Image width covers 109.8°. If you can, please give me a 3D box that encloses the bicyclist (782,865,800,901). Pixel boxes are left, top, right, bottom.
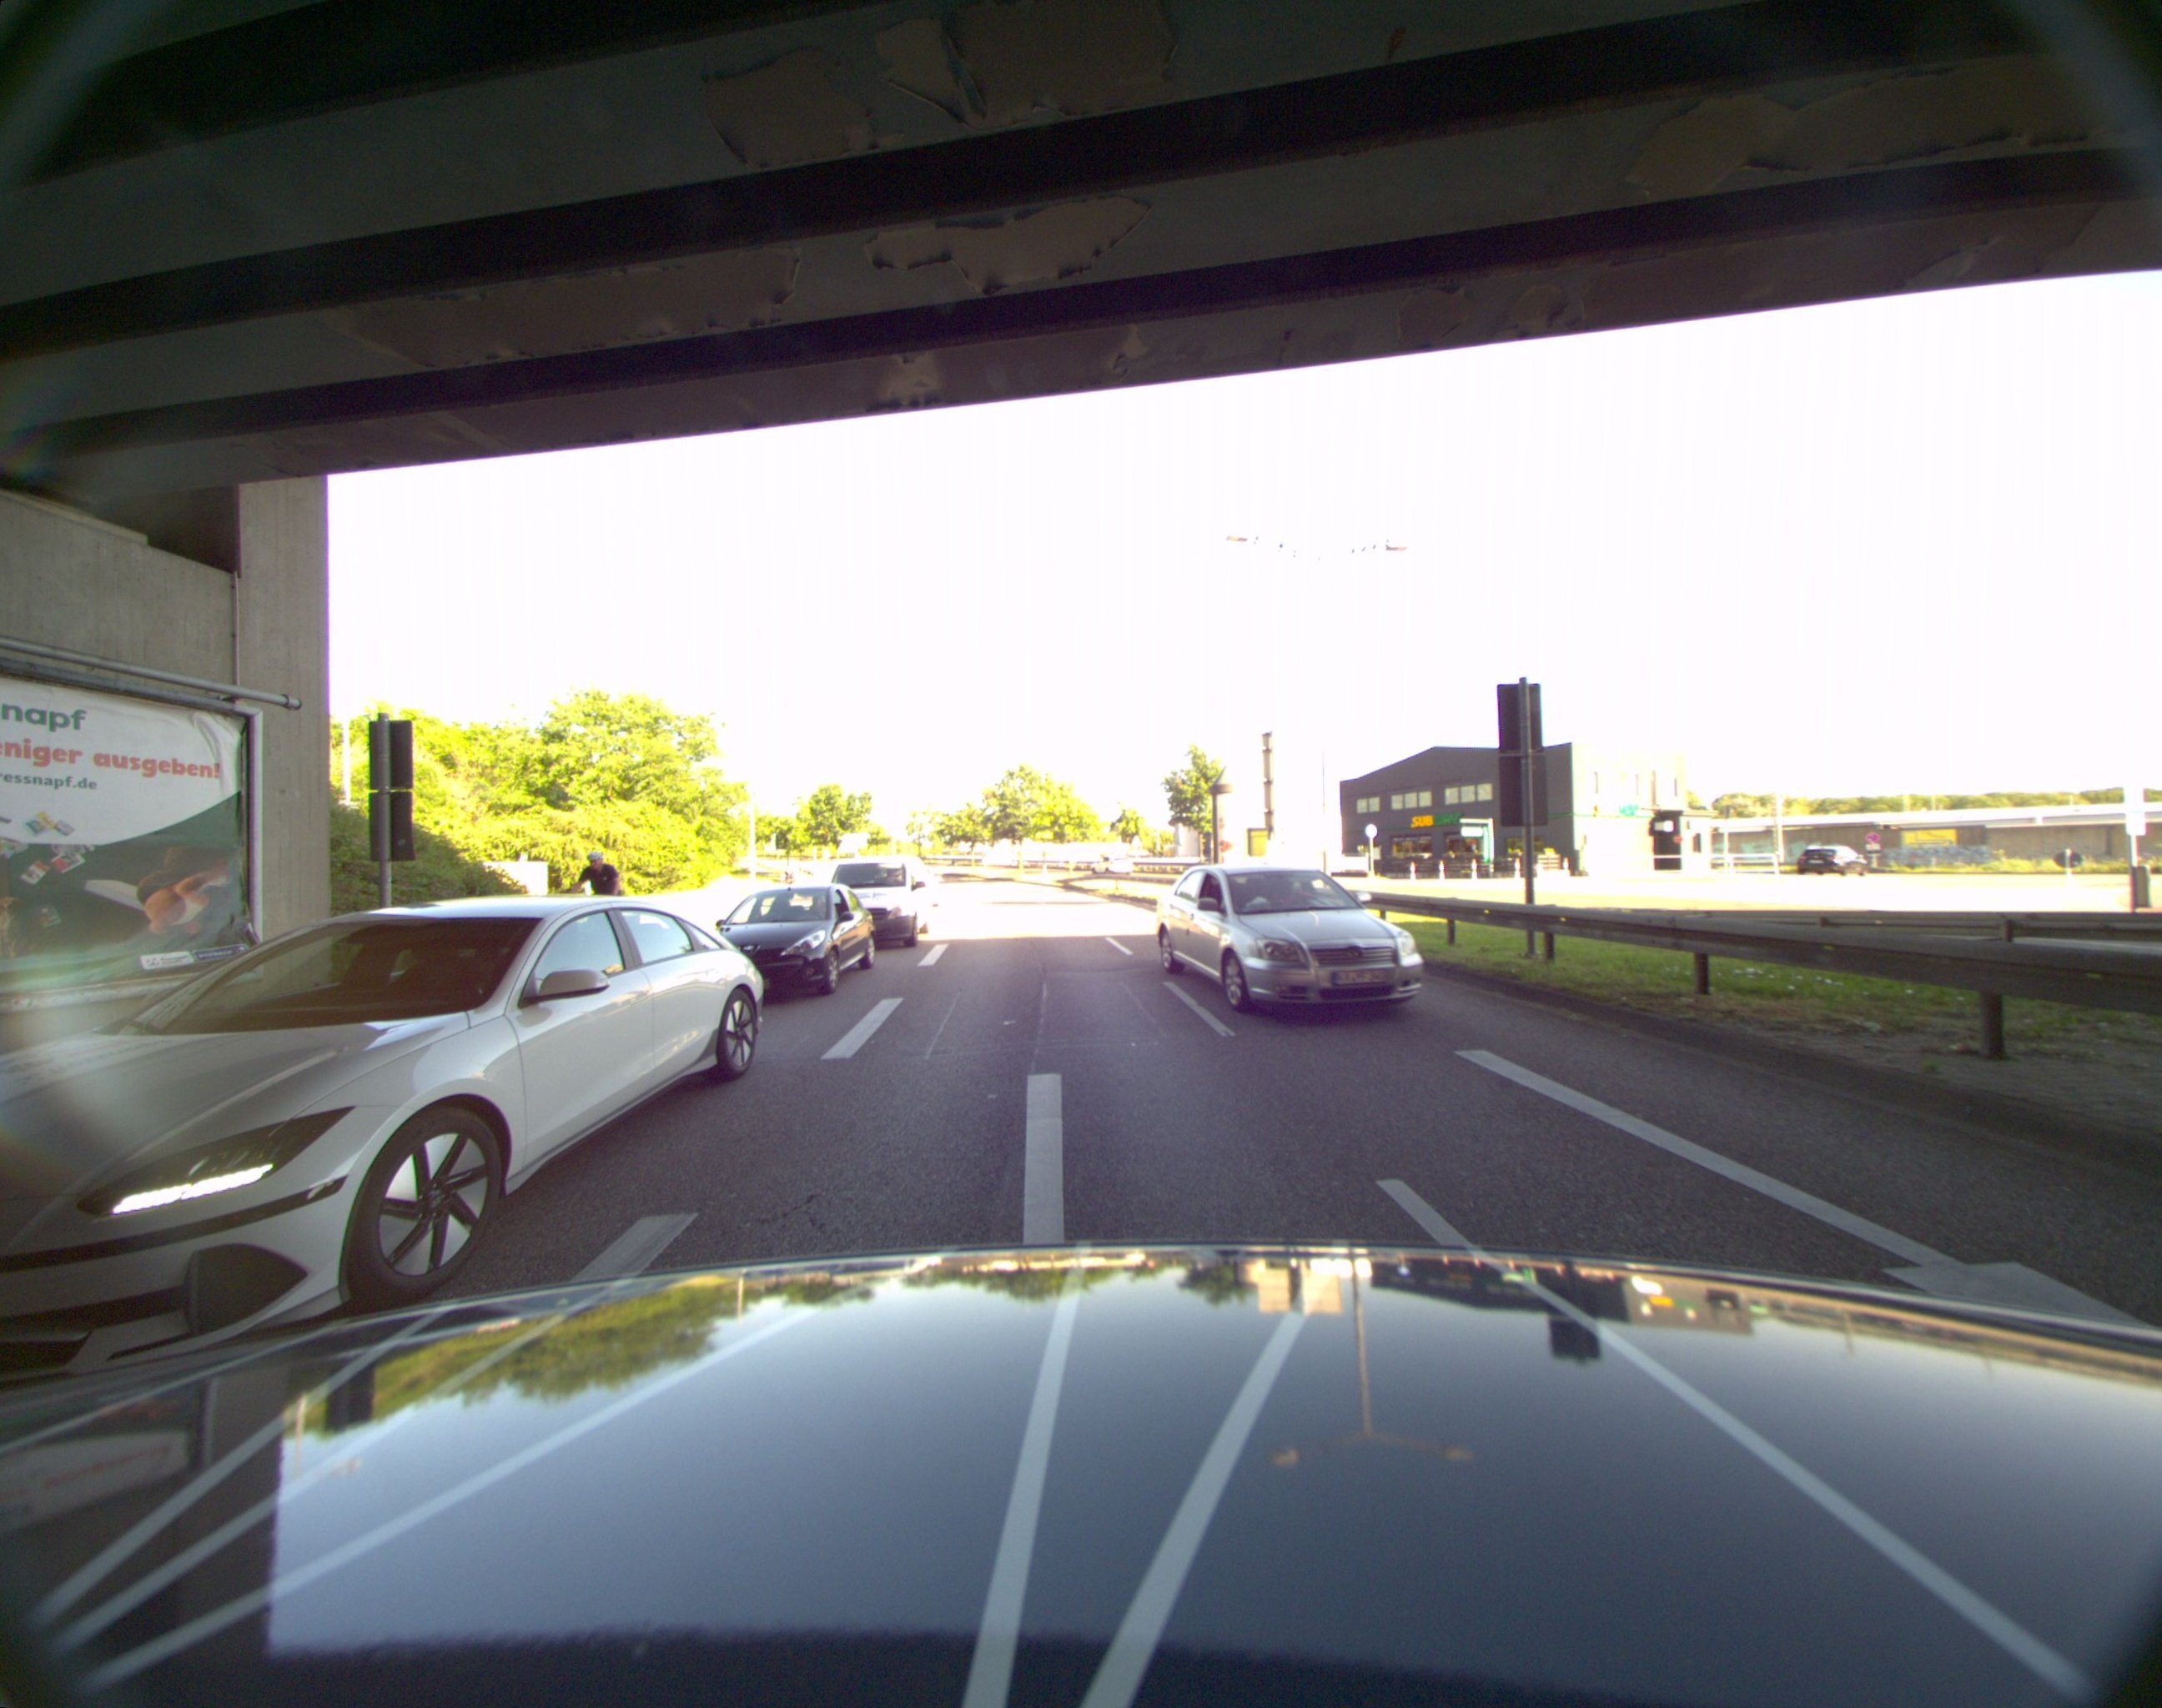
[{"bbox_3d":[-12.561,1.240,32.919,0.655,1.524,0.846,1,-1,-16],"label":"bicyclist"}]

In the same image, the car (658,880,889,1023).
[{"bbox_3d":[-3.991,1.182,10.574,1.750,1.447,3.716,-2,0,-2],"label":"car"}]

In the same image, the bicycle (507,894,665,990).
[{"bbox_3d":[-7.516,1.282,11.739,0.767,1.139,2.469,-3,1,0],"label":"bicycle"}]

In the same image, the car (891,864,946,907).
[{"bbox_3d":[-6.698,1.249,31.700,2.000,1.542,4.417,-2,0,-9],"label":"car"}]

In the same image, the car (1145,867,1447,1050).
[{"bbox_3d":[2.095,0.945,8.850,1.702,1.446,4.395,-3,0,-8],"label":"car"}]

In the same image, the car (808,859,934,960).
[{"bbox_3d":[-4.435,1.064,16.783,1.903,1.825,4.832,-2,0,-7],"label":"car"}]

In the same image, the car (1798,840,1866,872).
[{"bbox_3d":[38.418,0.076,38.833,4.007,1.434,1.878,-3,1,-37],"label":"car"}]

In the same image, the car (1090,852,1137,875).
[{"bbox_3d":[2.381,0.703,57.120,1.808,1.597,4.287,-2,0,-24],"label":"car"}]

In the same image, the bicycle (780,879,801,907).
[{"bbox_3d":[-12.560,1.682,32.882,0.653,1.160,1.776,1,-1,-16],"label":"bicycle"}]

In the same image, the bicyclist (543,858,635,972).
[{"bbox_3d":[-7.530,0.901,11.681,0.748,1.646,0.886,-3,1,0],"label":"bicyclist"}]

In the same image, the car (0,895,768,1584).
[{"bbox_3d":[-3.424,1.100,4.140,1.751,1.447,4.662,-2,0,-4],"label":"car"}]
